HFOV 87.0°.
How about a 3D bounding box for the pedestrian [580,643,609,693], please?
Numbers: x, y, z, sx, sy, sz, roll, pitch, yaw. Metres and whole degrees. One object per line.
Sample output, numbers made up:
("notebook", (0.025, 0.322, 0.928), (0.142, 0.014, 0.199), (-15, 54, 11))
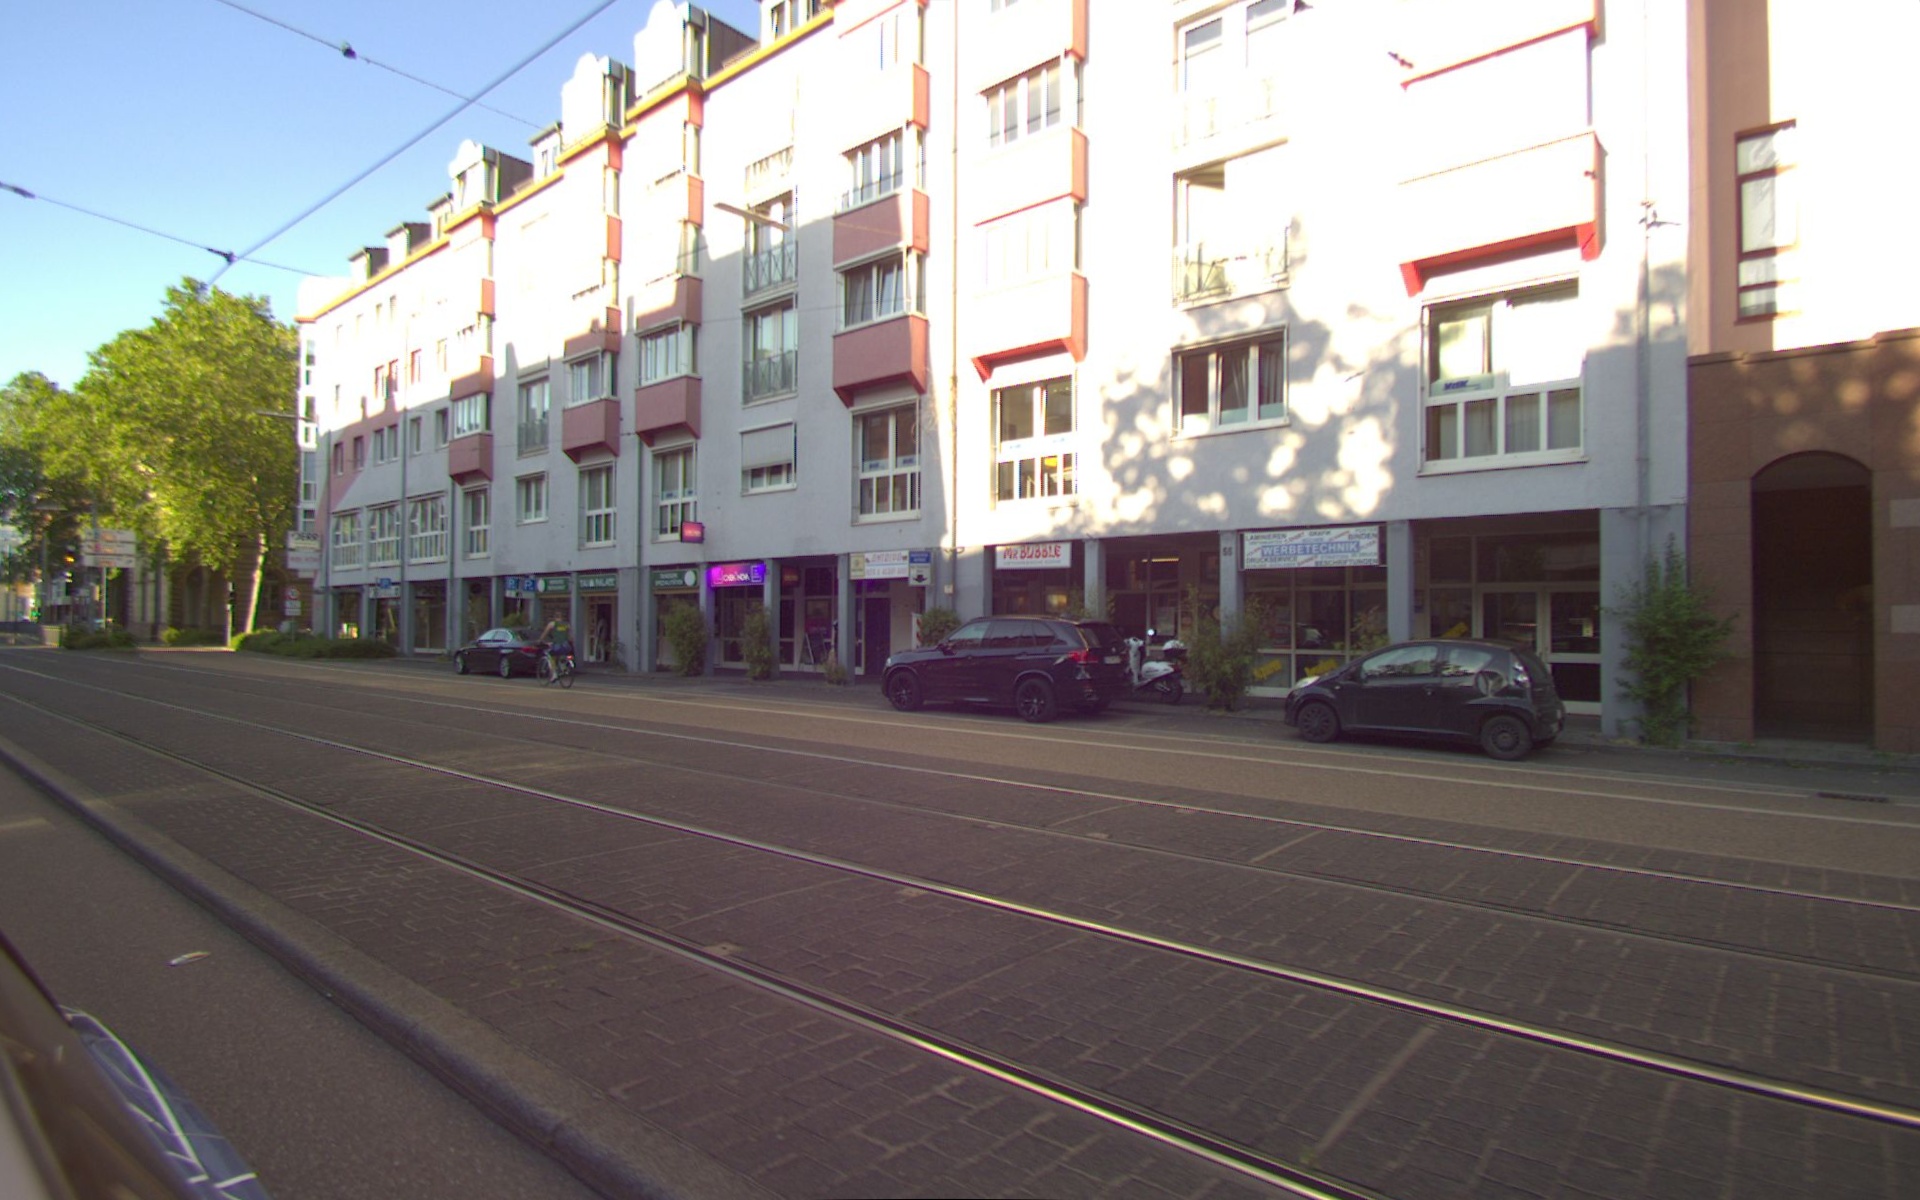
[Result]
("pedestrian", (-12.980, 2.405, 35.947), (0.615, 1.725, 0.736), (-2, -3, 37))

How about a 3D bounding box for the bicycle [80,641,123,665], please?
("bicycle", (-42.527, 2.600, 50.154), (0.575, 1.086, 1.901), (-2, 0, -3))

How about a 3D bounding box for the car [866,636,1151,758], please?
("car", (0.760, 1.586, 18.006), (4.815, 1.725, 2.070), (0, 0, 40))

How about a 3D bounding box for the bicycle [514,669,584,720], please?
("bicycle", (-9.634, 2.183, 23.698), (2.185, 1.086, 0.576), (-2, -4, 42))

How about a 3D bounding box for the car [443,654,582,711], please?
("car", (-13.474, 2.417, 30.349), (4.700, 1.450, 1.851), (-2, -1, 38))

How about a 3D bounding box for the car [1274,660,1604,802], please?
("car", (6.293, 1.609, 13.500), (3.584, 1.461, 1.849), (-1, -1, 44))

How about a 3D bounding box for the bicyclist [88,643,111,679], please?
("bicyclist", (-42.553, 3.004, 50.057), (0.525, 1.725, 0.746), (0, -2, -5))

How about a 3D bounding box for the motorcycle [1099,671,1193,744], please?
("motorcycle", (3.266, 1.860, 17.820), (1.543, 1.142, 0.564), (-1, 0, 40))

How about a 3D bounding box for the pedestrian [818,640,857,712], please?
("pedestrian", (-3.016, 1.858, 24.963), (0.745, 1.725, 0.608), (-2, -3, 39))

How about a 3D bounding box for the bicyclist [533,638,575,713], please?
("bicyclist", (-9.454, 1.747, 23.577), (0.745, 1.725, 0.565), (-2, -4, 40))

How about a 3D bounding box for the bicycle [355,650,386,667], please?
("bicycle", (-25.390, 2.524, 43.581), (1.806, 0.663, 0.452), (-2, 0, 36))
